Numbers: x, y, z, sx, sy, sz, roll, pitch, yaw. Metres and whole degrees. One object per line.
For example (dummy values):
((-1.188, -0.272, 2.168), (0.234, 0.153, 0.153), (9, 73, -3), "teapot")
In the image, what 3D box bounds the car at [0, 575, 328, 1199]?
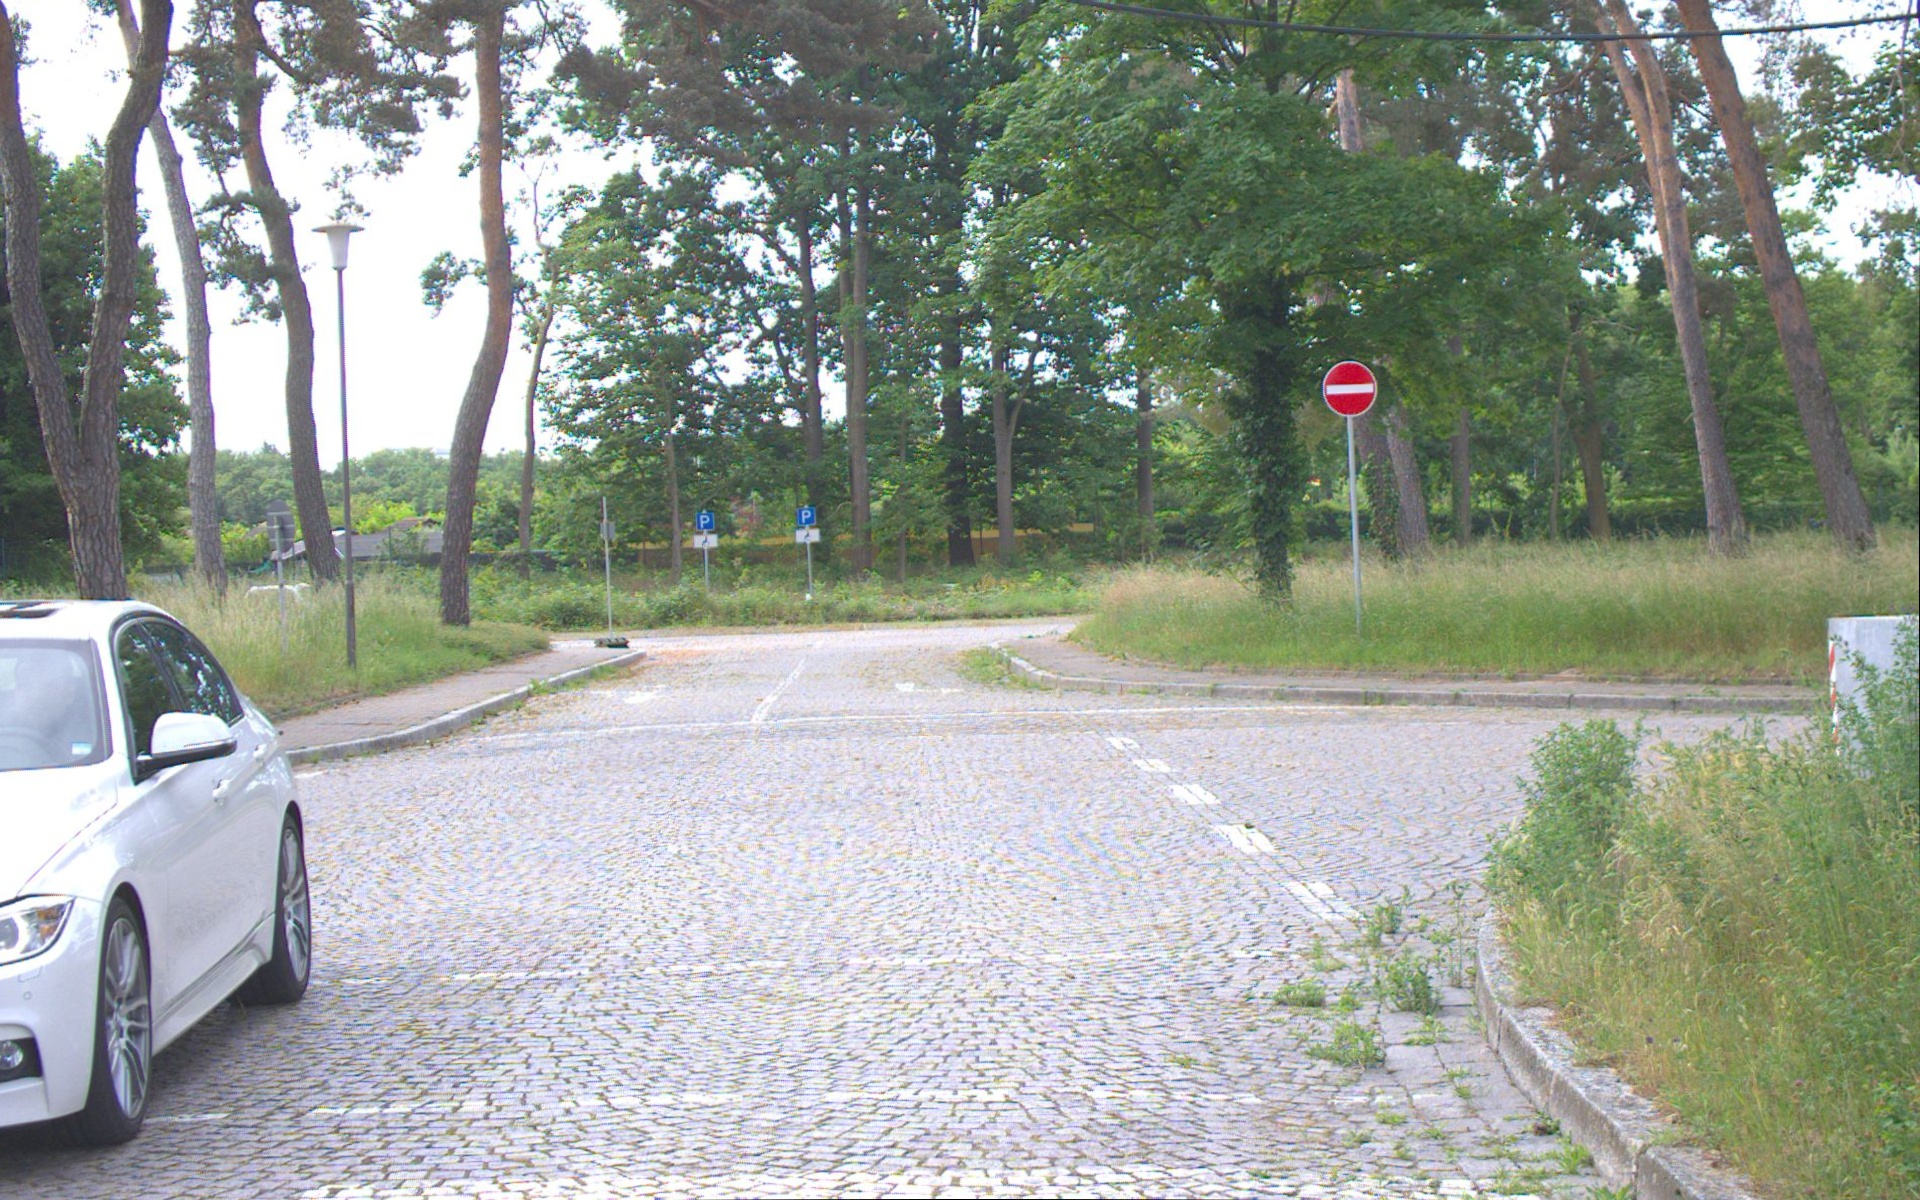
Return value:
((-3.126, 0.730, 10.243), (1.773, 1.433, 4.219), (-5, 1, -2), "car")

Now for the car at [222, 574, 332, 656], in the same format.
((-15.757, 0.326, 79.521), (1.993, 1.840, 4.001), (0, 1, -4), "car")
